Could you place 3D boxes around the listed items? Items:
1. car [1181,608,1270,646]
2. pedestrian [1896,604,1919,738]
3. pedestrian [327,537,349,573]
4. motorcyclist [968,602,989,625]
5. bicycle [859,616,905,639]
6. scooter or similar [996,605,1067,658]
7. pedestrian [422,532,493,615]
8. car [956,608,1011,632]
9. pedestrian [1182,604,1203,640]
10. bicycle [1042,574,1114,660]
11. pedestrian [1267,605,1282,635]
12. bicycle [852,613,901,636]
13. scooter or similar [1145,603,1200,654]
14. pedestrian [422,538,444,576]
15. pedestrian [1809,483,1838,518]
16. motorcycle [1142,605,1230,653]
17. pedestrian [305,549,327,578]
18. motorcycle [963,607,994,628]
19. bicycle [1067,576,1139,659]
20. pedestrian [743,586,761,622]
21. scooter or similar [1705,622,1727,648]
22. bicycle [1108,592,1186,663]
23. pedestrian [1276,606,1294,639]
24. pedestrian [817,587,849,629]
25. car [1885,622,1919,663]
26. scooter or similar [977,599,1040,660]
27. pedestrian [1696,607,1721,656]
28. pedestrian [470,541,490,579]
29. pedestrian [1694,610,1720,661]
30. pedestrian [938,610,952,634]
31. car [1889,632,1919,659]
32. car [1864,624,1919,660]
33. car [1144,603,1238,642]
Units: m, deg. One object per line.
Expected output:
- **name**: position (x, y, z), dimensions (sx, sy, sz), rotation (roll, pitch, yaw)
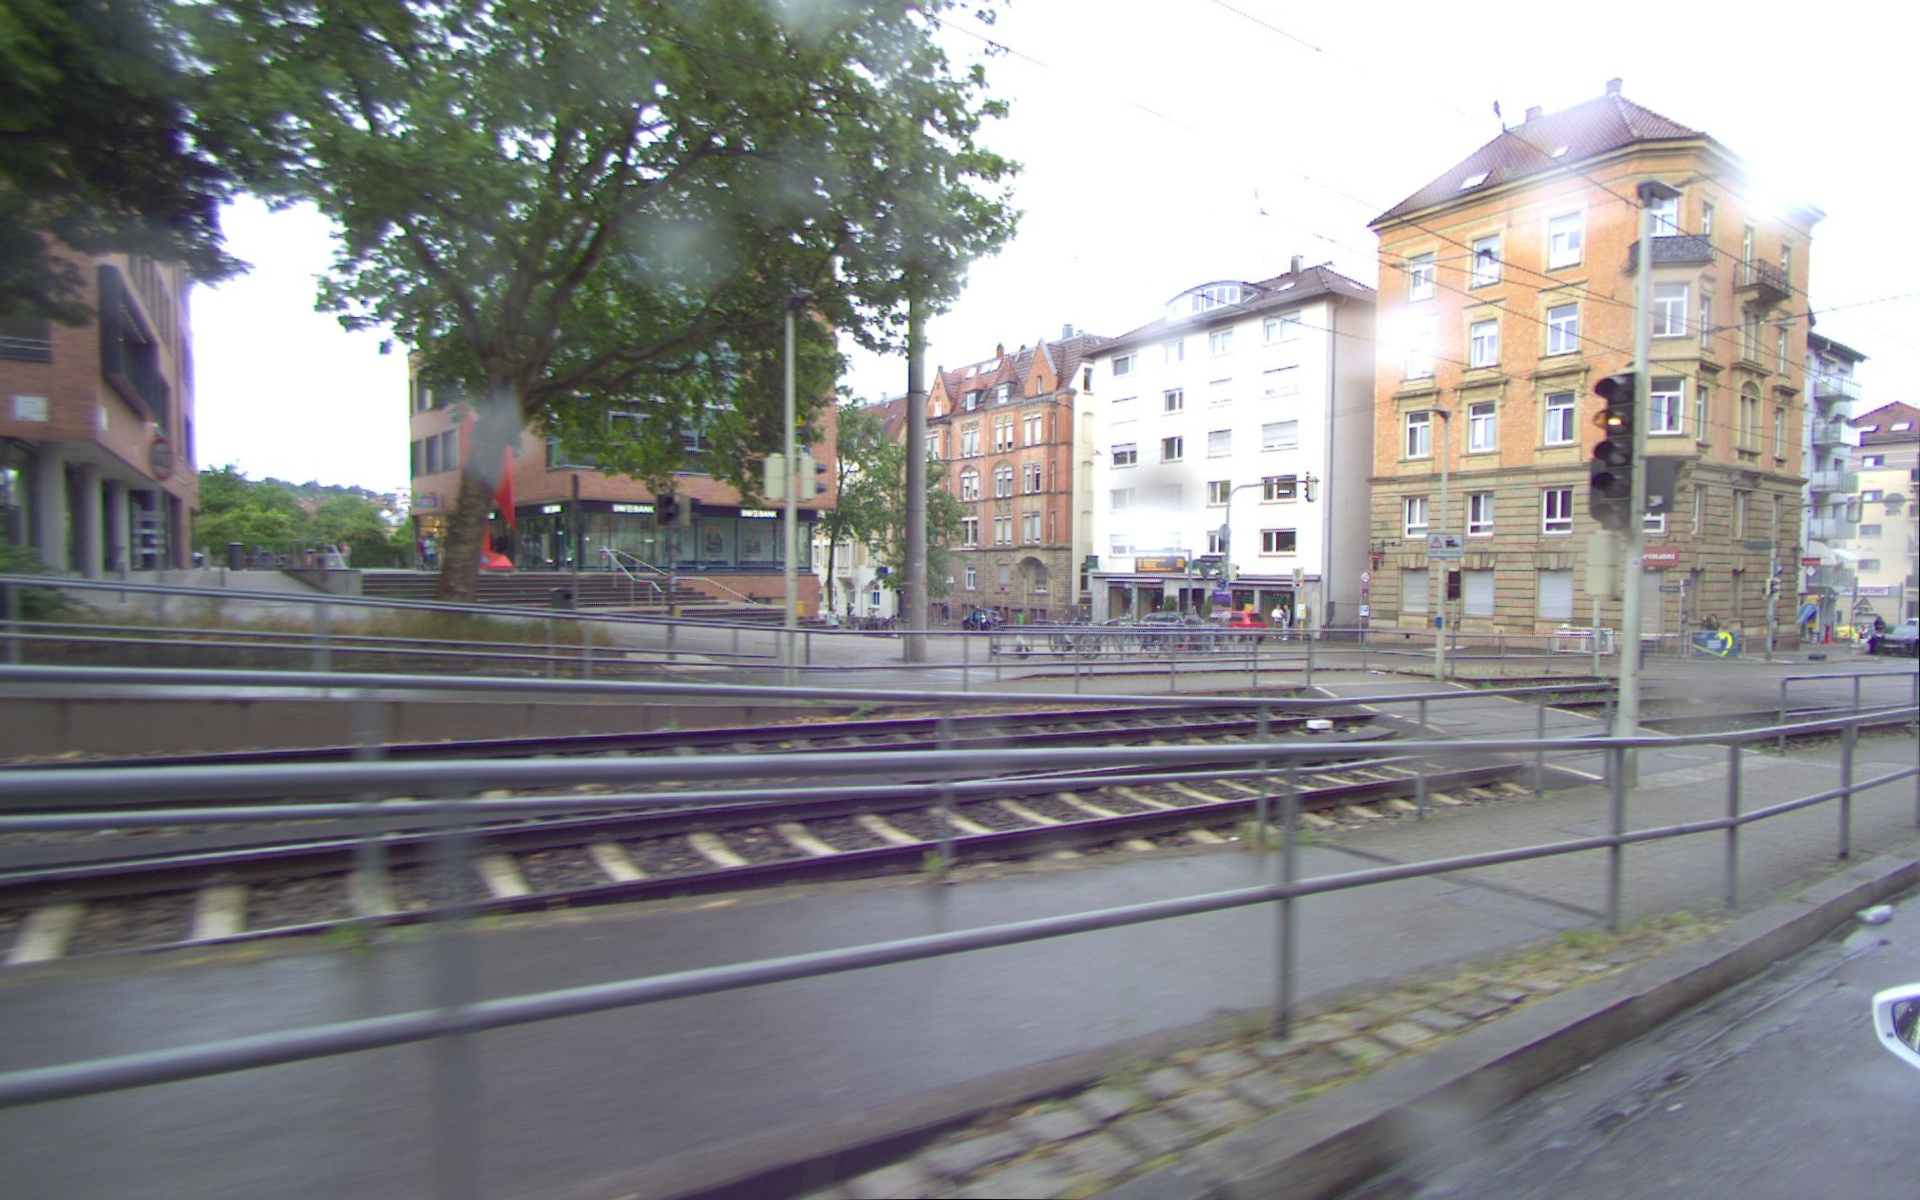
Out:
- **car**: position (12.667, 1.279, 48.043), dimensions (1.621, 1.603, 3.959), rotation (1, 1, -36)
- **pedestrian**: position (13.600, 0.986, 13.853), dimensions (0.992, 1.822, 0.819), rotation (2, 0, -37)
- **pedestrian**: position (-28.078, -2.016, 45.370), dimensions (0.706, 1.571, 0.623), rotation (2, 0, -22)
- **motorcyclist**: position (1.072, 0.780, 58.322), dimensions (0.833, 1.320, 0.807), rotation (1, 0, -34)
- **bicycle**: position (-3.910, 1.371, 50.483), dimensions (2.350, 1.116, 0.691), rotation (1, 1, -43)
- **scooter or similar**: position (1.730, 0.754, 24.402), dimensions (1.690, 1.210, 0.477), rotation (2, 0, 35)
- **pedestrian**: position (-11.467, -0.598, 22.945), dimensions (1.049, 1.767, 0.793), rotation (6, 0, -1)
- **car**: position (1.511, 1.303, 65.971), dimensions (1.619, 1.310, 3.964), rotation (2, 1, -32)
- **pedestrian**: position (13.651, 1.294, 58.914), dimensions (0.759, 2.040, 0.859), rotation (2, 0, -30)
- **bicycle**: position (2.930, 0.403, 25.110), dimensions (0.515, 2.040, 1.874), rotation (1, 1, -41)
- **pedestrian**: position (16.610, 1.058, 53.006), dimensions (0.492, 1.557, 0.528), rotation (1, 1, -31)
- **bicycle**: position (-4.277, 1.272, 51.630), dimensions (2.341, 1.116, 0.845), rotation (2, 1, -32)
- **scooter or similar**: position (6.165, 0.816, 29.200), dimensions (1.483, 1.389, 0.451), rotation (2, 1, 39)
- **pedestrian**: position (-25.362, -2.066, 48.368), dimensions (0.639, 1.753, 0.724), rotation (2, 0, 43)
- **pedestrian**: position (51.788, -5.941, 60.243), dimensions (1.169, 1.955, 1.160), rotation (1, 1, -43)
- **motorcycle**: position (6.980, 0.889, 31.161), dimensions (0.859, 1.389, 2.627), rotation (2, -1, -41)
- **pedestrian**: position (-35.682, -1.991, 55.681), dimensions (0.715, 1.551, 0.854), rotation (2, 0, -9)
- **motorcycle**: position (1.061, 0.998, 58.341), dimensions (0.857, 1.174, 1.834), rotation (1, 0, -33)
- **bicycle**: position (3.652, 0.428, 25.790), dimensions (0.515, 2.040, 1.874), rotation (1, 1, -41)
- **pedestrian**: position (-9.350, 0.177, 45.185), dimensions (0.585, 1.587, 0.515), rotation (2, 1, -33)
- **scooter or similar**: position (29.075, 1.343, 38.619), dimensions (0.545, 0.957, 0.577), rotation (1, 0, 25)
- **bicycle**: position (5.024, 0.719, 27.119), dimensions (0.552, 1.720, 2.072), rotation (3, 1, -41)
- **pedestrian**: position (16.871, 1.173, 52.134), dimensions (0.588, 1.690, 0.598), rotation (2, 0, -25)
- **pedestrian**: position (-5.441, 0.352, 43.049), dimensions (0.999, 1.753, 0.890), rotation (2, 0, -35)
- **car**: position (52.273, 2.300, 54.404), dimensions (5.250, 2.036, 2.055), rotation (1, 3, -36)
- **scooter or similar**: position (1.153, 0.685, 24.061), dimensions (1.483, 1.389, 0.451), rotation (2, 1, 39)
- **pedestrian**: position (27.958, 1.184, 37.539), dimensions (0.616, 1.791, 0.639), rotation (-1, 2, 25)
- **pedestrian**: position (-22.703, -1.904, 47.518), dimensions (0.643, 1.753, 0.611), rotation (1, 0, -42)
- **pedestrian**: position (27.867, 1.302, 37.478), dimensions (0.615, 1.864, 0.640), rotation (1, 0, 23)
- **pedestrian**: position (-1.201, 1.707, 78.694), dimensions (0.806, 1.861, 0.762), rotation (1, 0, -36)
- **car**: position (55.902, 2.649, 57.418), dimensions (3.904, 1.453, 1.785), rotation (2, 0, -1)
- **car**: position (47.408, 2.116, 50.713), dimensions (4.322, 1.673, 1.721), rotation (2, 1, -36)
- **car**: position (10.482, 1.015, 45.759), dimensions (1.824, 1.687, 3.960), rotation (1, -1, -35)
